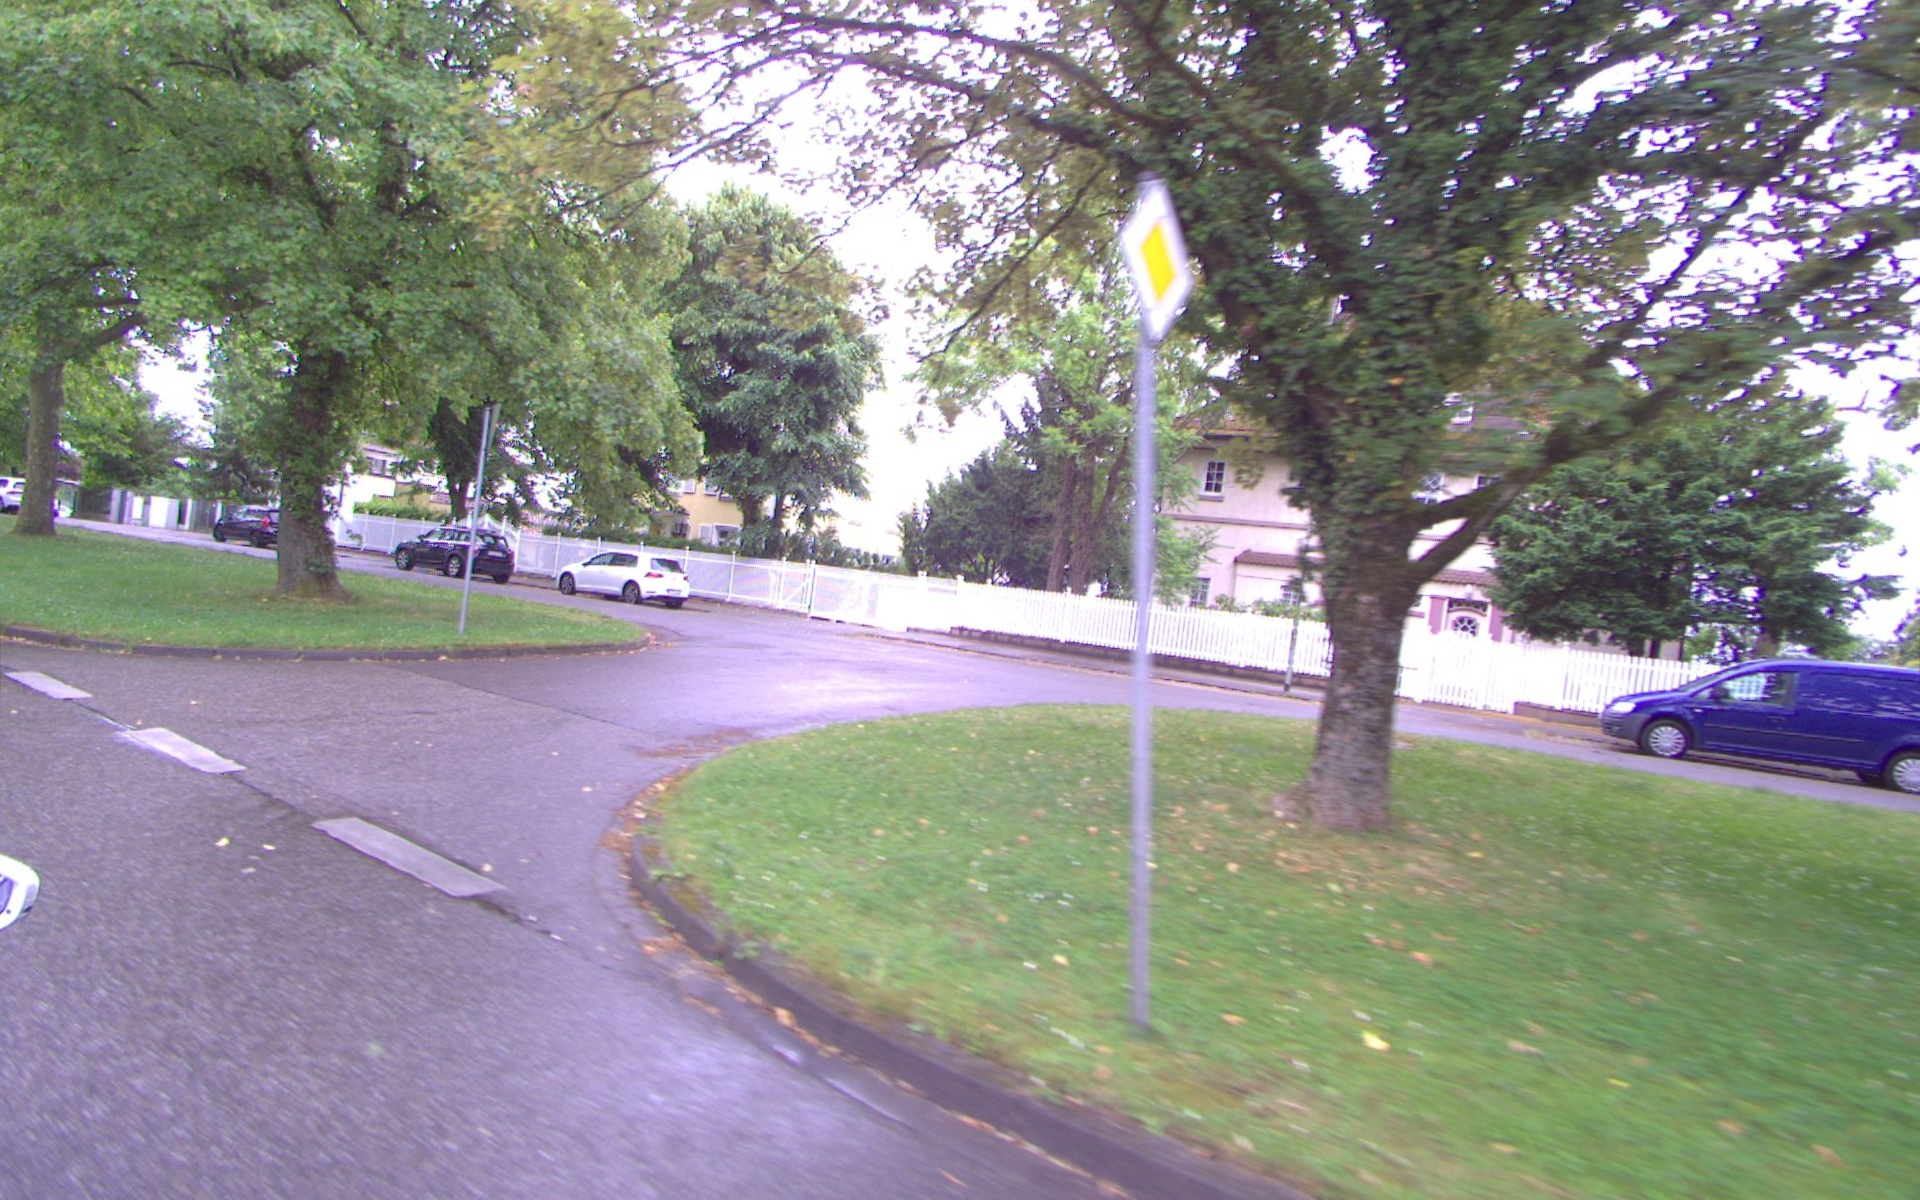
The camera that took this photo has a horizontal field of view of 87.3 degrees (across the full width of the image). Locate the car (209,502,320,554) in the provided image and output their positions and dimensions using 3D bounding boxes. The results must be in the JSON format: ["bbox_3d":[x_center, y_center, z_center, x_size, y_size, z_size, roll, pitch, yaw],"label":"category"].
[{"bbox_3d":[-26.050,-2.691,37.654,4.042,1.430,1.804,8,1,30],"label":"car"}]

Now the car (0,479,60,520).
[{"bbox_3d":[-38.920,-4.204,41.392,3.935,1.424,1.804,7,2,33],"label":"car"}]

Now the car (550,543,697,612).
[{"bbox_3d":[-9.500,-0.646,28.344,3.941,1.428,1.618,8,1,29],"label":"car"}]

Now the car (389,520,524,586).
[{"bbox_3d":[-15.958,-1.496,31.850,4.042,1.549,1.804,8,1,30],"label":"car"}]

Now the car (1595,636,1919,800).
[{"bbox_3d":[12.967,1.803,15.982,4.569,1.833,1.943,8,2,30],"label":"car"}]
